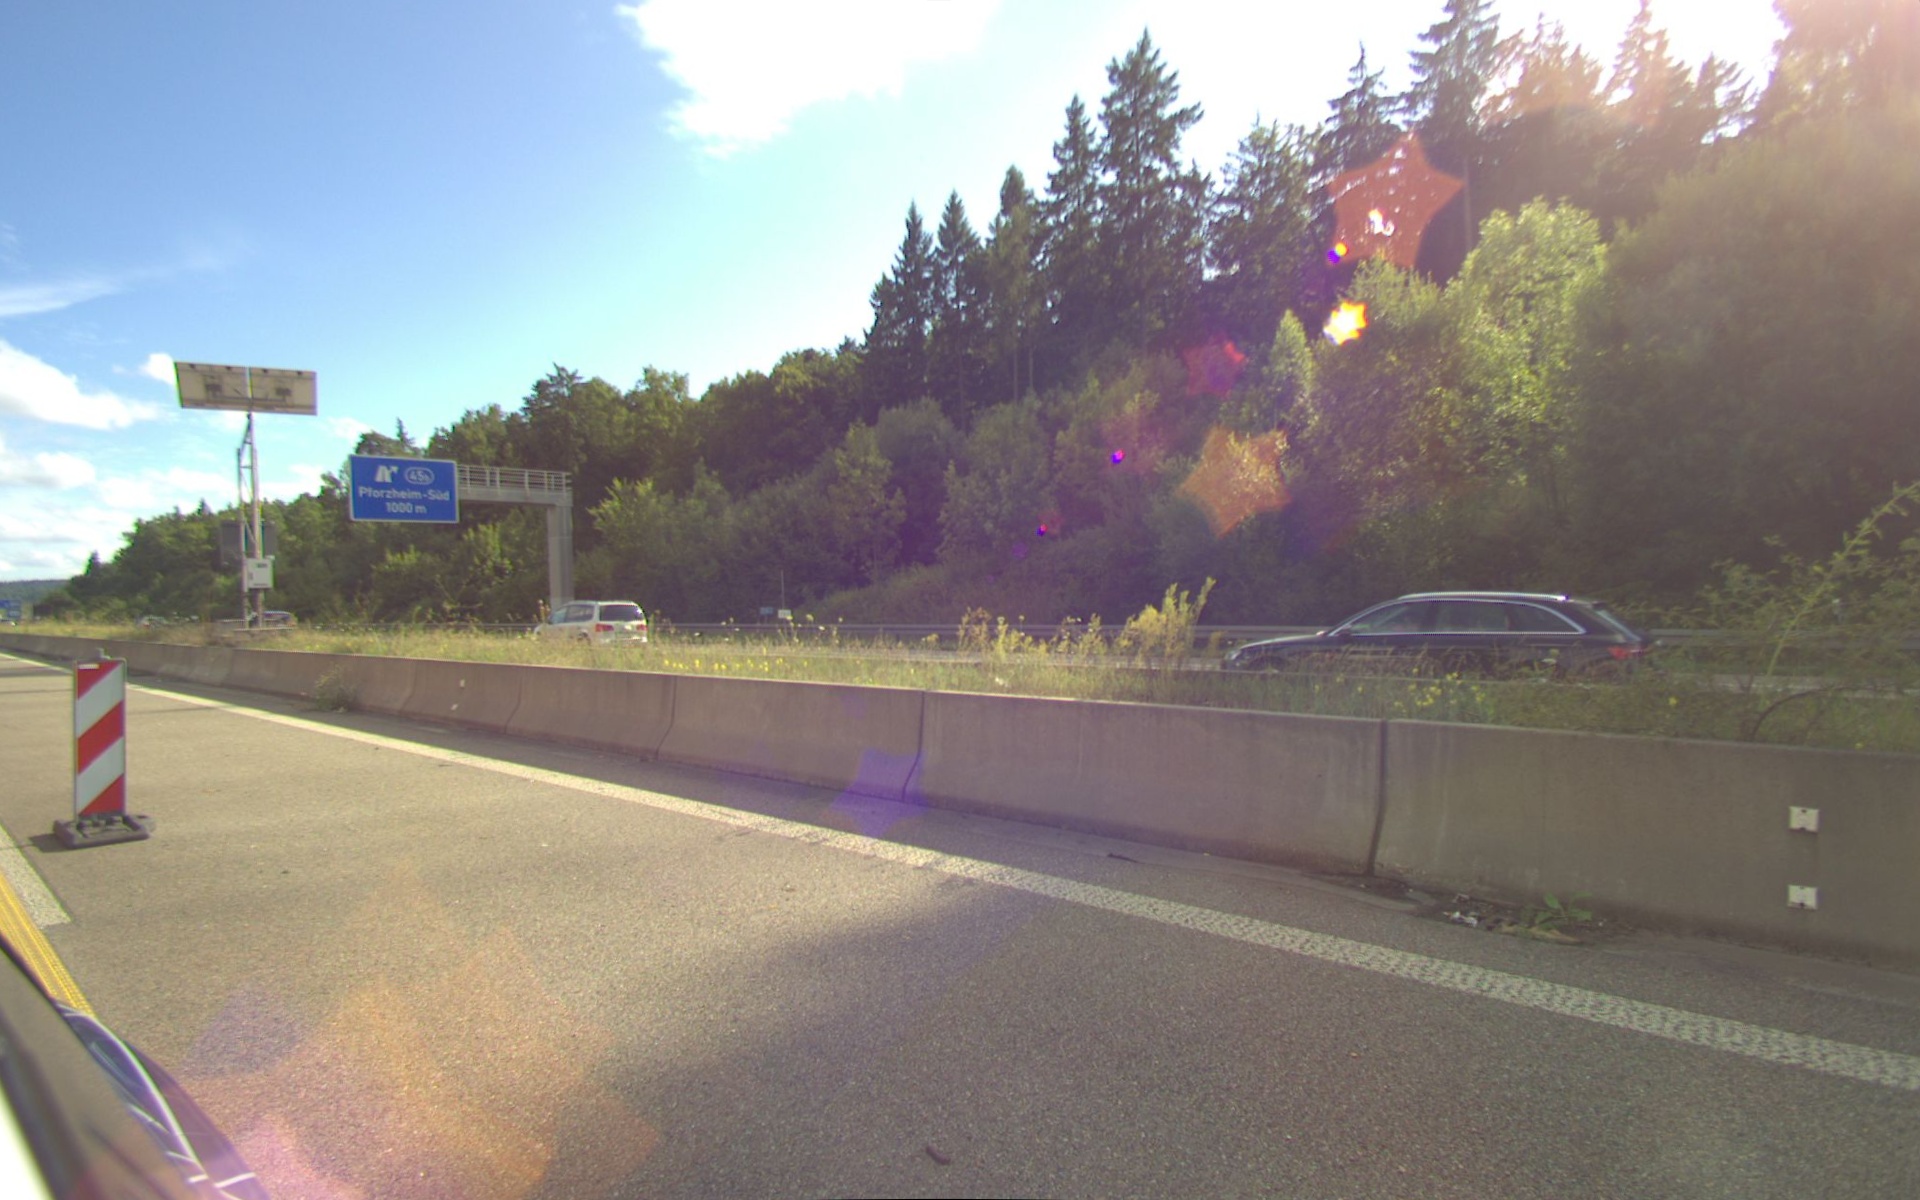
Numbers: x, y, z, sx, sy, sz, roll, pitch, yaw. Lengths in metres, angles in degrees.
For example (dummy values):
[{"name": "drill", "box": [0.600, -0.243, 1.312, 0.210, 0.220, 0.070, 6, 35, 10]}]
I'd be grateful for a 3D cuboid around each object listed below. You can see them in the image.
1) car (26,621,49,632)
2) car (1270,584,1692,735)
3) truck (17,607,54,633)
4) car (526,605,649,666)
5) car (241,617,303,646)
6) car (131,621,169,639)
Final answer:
[{"name": "car", "box": [-130.364, 3.718, 143.027, 3.910, 1.475, 1.919, -1, 0, 41]}, {"name": "car", "box": [5.663, 0.565, 11.275, 3.910, 1.398, 1.643, -1, 0, 41]}, {"name": "truck", "box": [-162.736, 3.487, 178.112, 13.051, 4.409, 3.793, -1, 0, 43]}, {"name": "car", "box": [-10.698, 0.973, 28.948, 3.910, 1.593, 1.643, -1, 0, 41]}, {"name": "car", "box": [-34.917, 1.570, 51.327, 3.910, 1.398, 1.643, -1, 0, 41]}, {"name": "car", "box": [-70.086, 2.588, 87.593, 3.910, 1.475, 1.919, -1, 0, 41]}]
